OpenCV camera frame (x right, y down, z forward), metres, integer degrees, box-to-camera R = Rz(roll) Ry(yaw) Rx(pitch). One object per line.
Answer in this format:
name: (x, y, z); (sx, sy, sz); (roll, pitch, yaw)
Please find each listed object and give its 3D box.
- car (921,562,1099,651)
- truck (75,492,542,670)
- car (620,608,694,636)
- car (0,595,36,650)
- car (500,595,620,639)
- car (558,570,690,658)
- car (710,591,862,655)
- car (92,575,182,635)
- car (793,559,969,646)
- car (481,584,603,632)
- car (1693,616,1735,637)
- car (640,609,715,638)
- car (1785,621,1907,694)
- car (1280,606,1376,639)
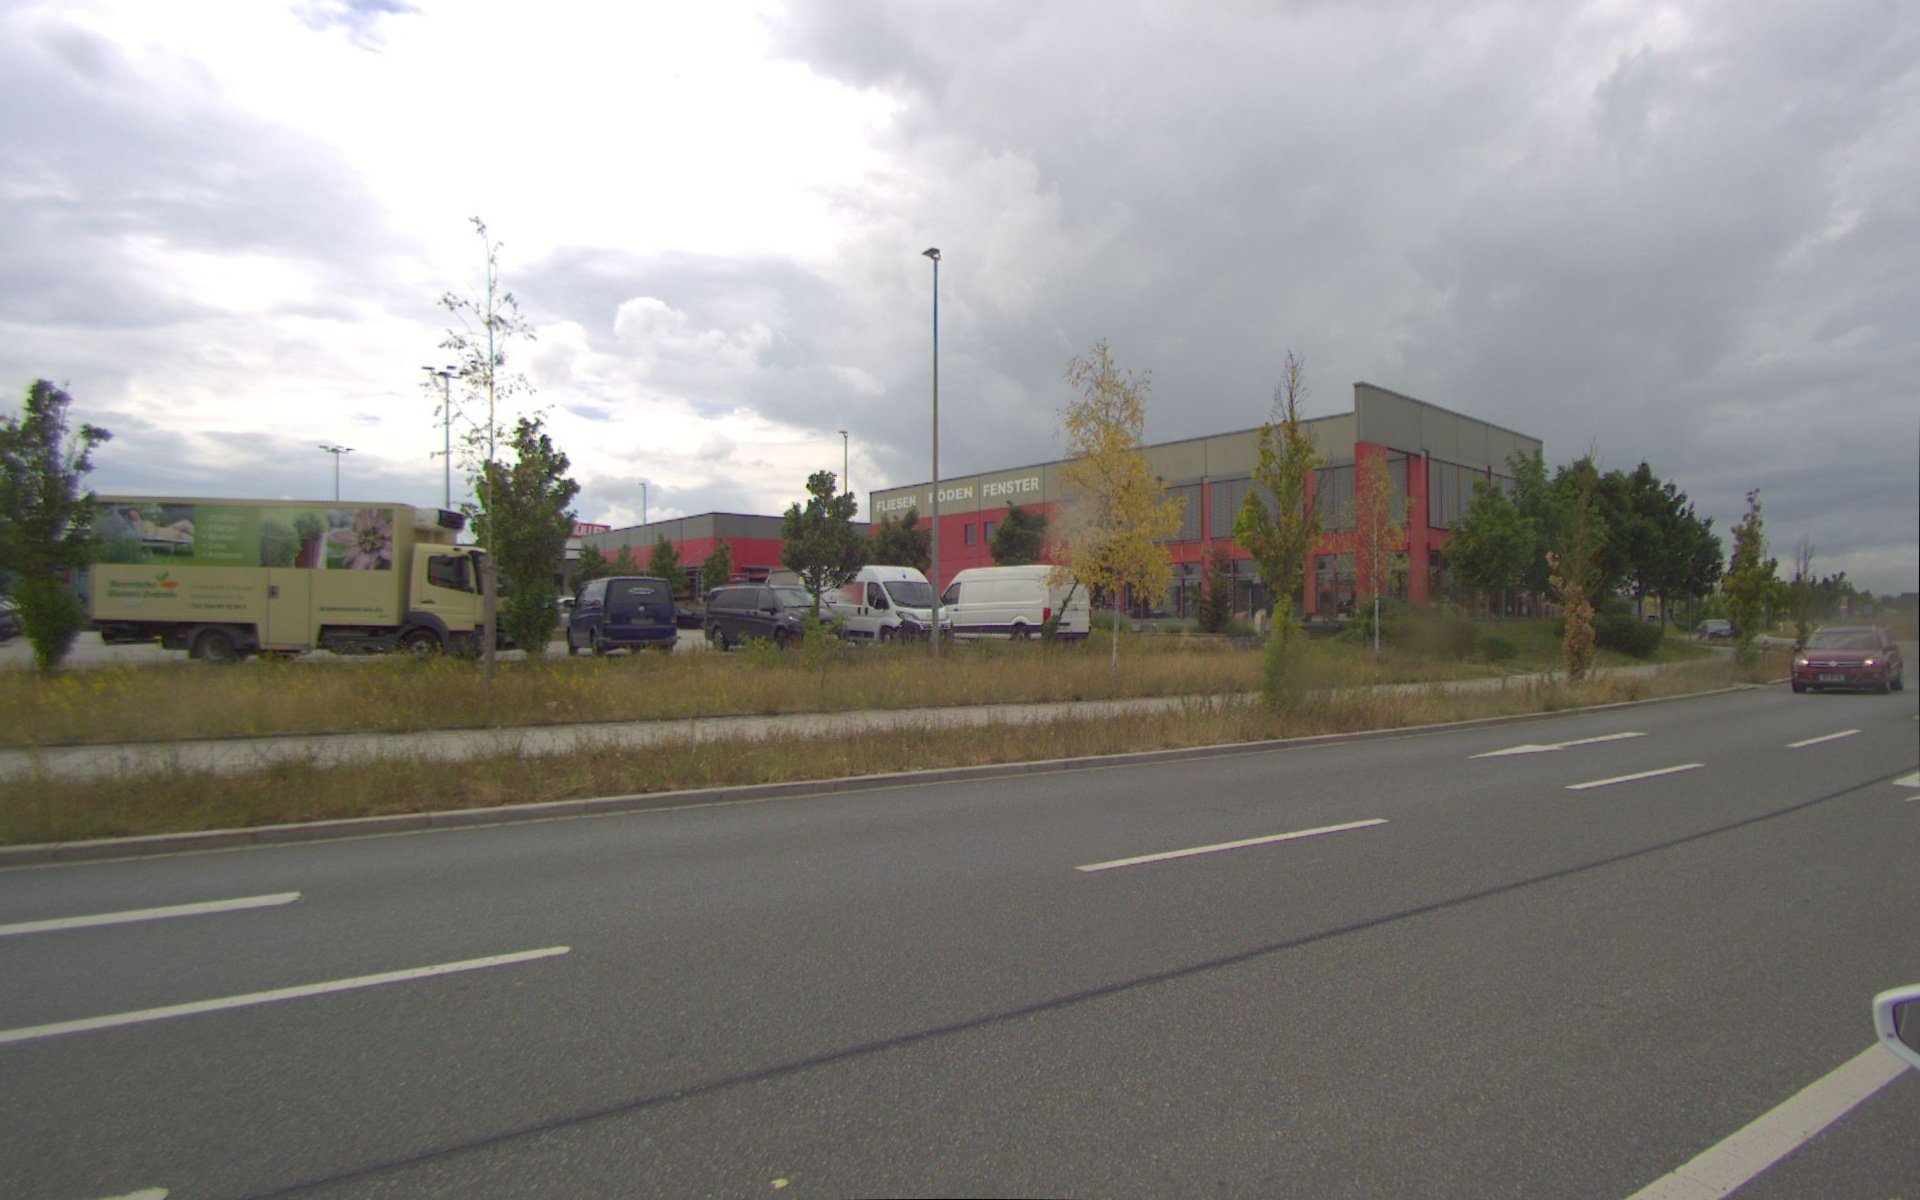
car: (1.476, 0.242, 32.977); (2.224, 2.633, 6.357); (1, -1, -38)
truck: (-13.948, -0.359, 22.088); (8.265, 3.588, 2.858); (0, 0, -2)
car: (-18.855, 1.372, 62.553); (3.969, 1.673, 1.976); (1, -2, -41)
car: (-30.562, 0.658, 29.326); (5.235, 1.628, 1.975); (1, -1, -43)
car: (-15.307, 0.672, 38.575); (1.651, 1.623, 3.975); (-1, -2, 45)
car: (-8.643, 0.376, 25.543); (2.154, 2.016, 4.877); (1, -1, -31)
car: (-4.964, 0.635, 28.130); (1.980, 1.638, 4.858); (1, -1, -41)
car: (-26.527, 0.200, 32.493); (1.959, 1.795, 3.960); (0, -1, -36)
car: (-2.493, 0.114, 29.969); (2.192, 2.337, 6.019); (1, -1, -39)
car: (-17.190, 0.358, 41.457); (1.973, 1.874, 4.240); (-1, -2, 45)
car: (53.652, 1.904, 71.552); (1.814, 1.425, 3.993); (-2, -3, 29)
car: (-17.151, 1.443, 61.090); (3.968, 1.673, 1.977); (1, -2, -41)
car: (22.313, 1.412, 25.252); (4.295, 1.691, 1.783); (2, -4, -42)
car: (17.869, 1.083, 48.915); (4.300, 1.572, 2.000); (0, -1, 18)
